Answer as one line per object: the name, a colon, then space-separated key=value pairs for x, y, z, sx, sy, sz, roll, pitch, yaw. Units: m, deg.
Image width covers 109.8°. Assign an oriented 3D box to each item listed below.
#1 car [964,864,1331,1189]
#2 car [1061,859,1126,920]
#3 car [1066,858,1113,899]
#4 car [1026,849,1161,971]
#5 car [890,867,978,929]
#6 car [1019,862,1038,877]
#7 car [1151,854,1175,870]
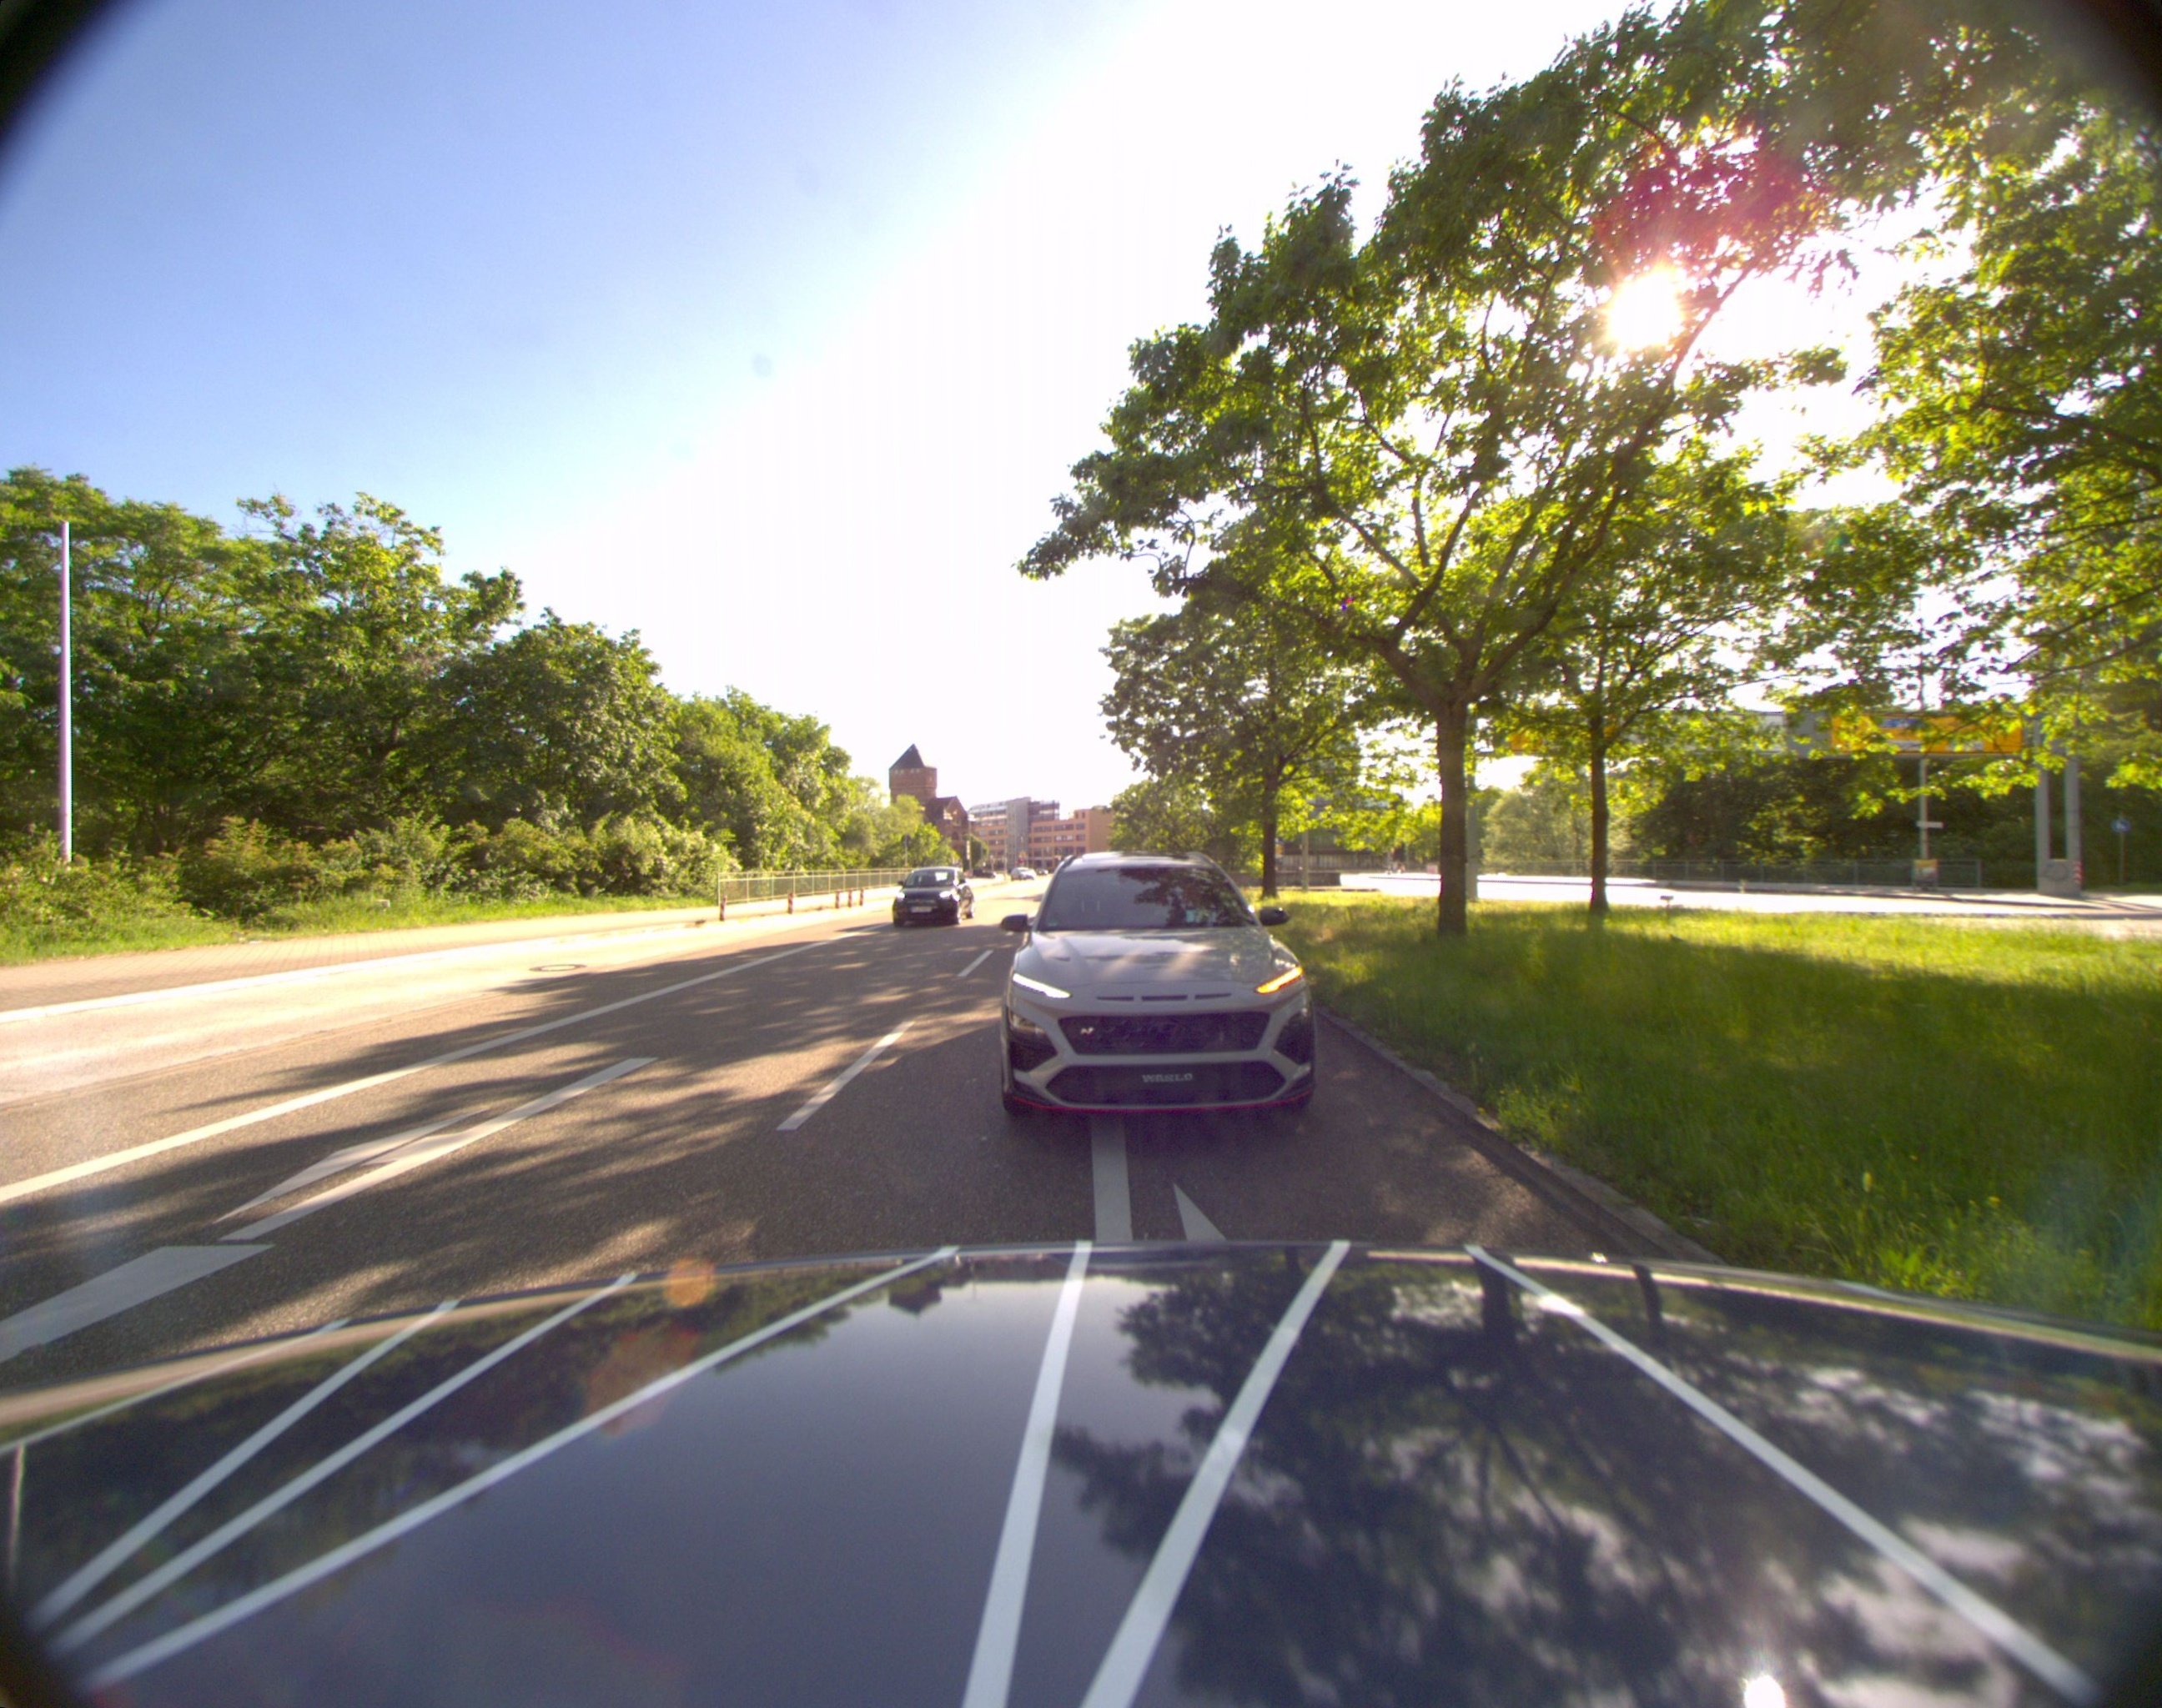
car: x=0.419 y=0.882 z=5.730 sx=1.780 sy=1.542 sz=3.981 roll=-1 pitch=0 yaw=3
car: x=0.437 y=0.969 z=22.138 sx=1.678 sy=1.499 sz=3.949 roll=-2 pitch=1 yaw=3
car: x=0.324 y=1.023 z=33.415 sx=1.834 sy=1.637 sz=3.999 roll=-1 pitch=0 yaw=-3
car: x=0.384 y=0.807 z=12.770 sx=1.744 sy=1.539 sz=4.002 roll=-7 pitch=-1 yaw=6
car: x=-3.904 y=1.125 z=20.708 sx=1.678 sy=1.494 sz=3.562 roll=-1 pitch=0 yaw=0
car: x=-6.049 y=1.794 z=87.593 sx=1.999 sy=1.595 sz=4.209 roll=-1 pitch=0 yaw=-6
car: x=10.230 y=1.012 z=94.935 sx=2.000 sy=2.002 sz=3.997 roll=-1 pitch=0 yaw=-8
